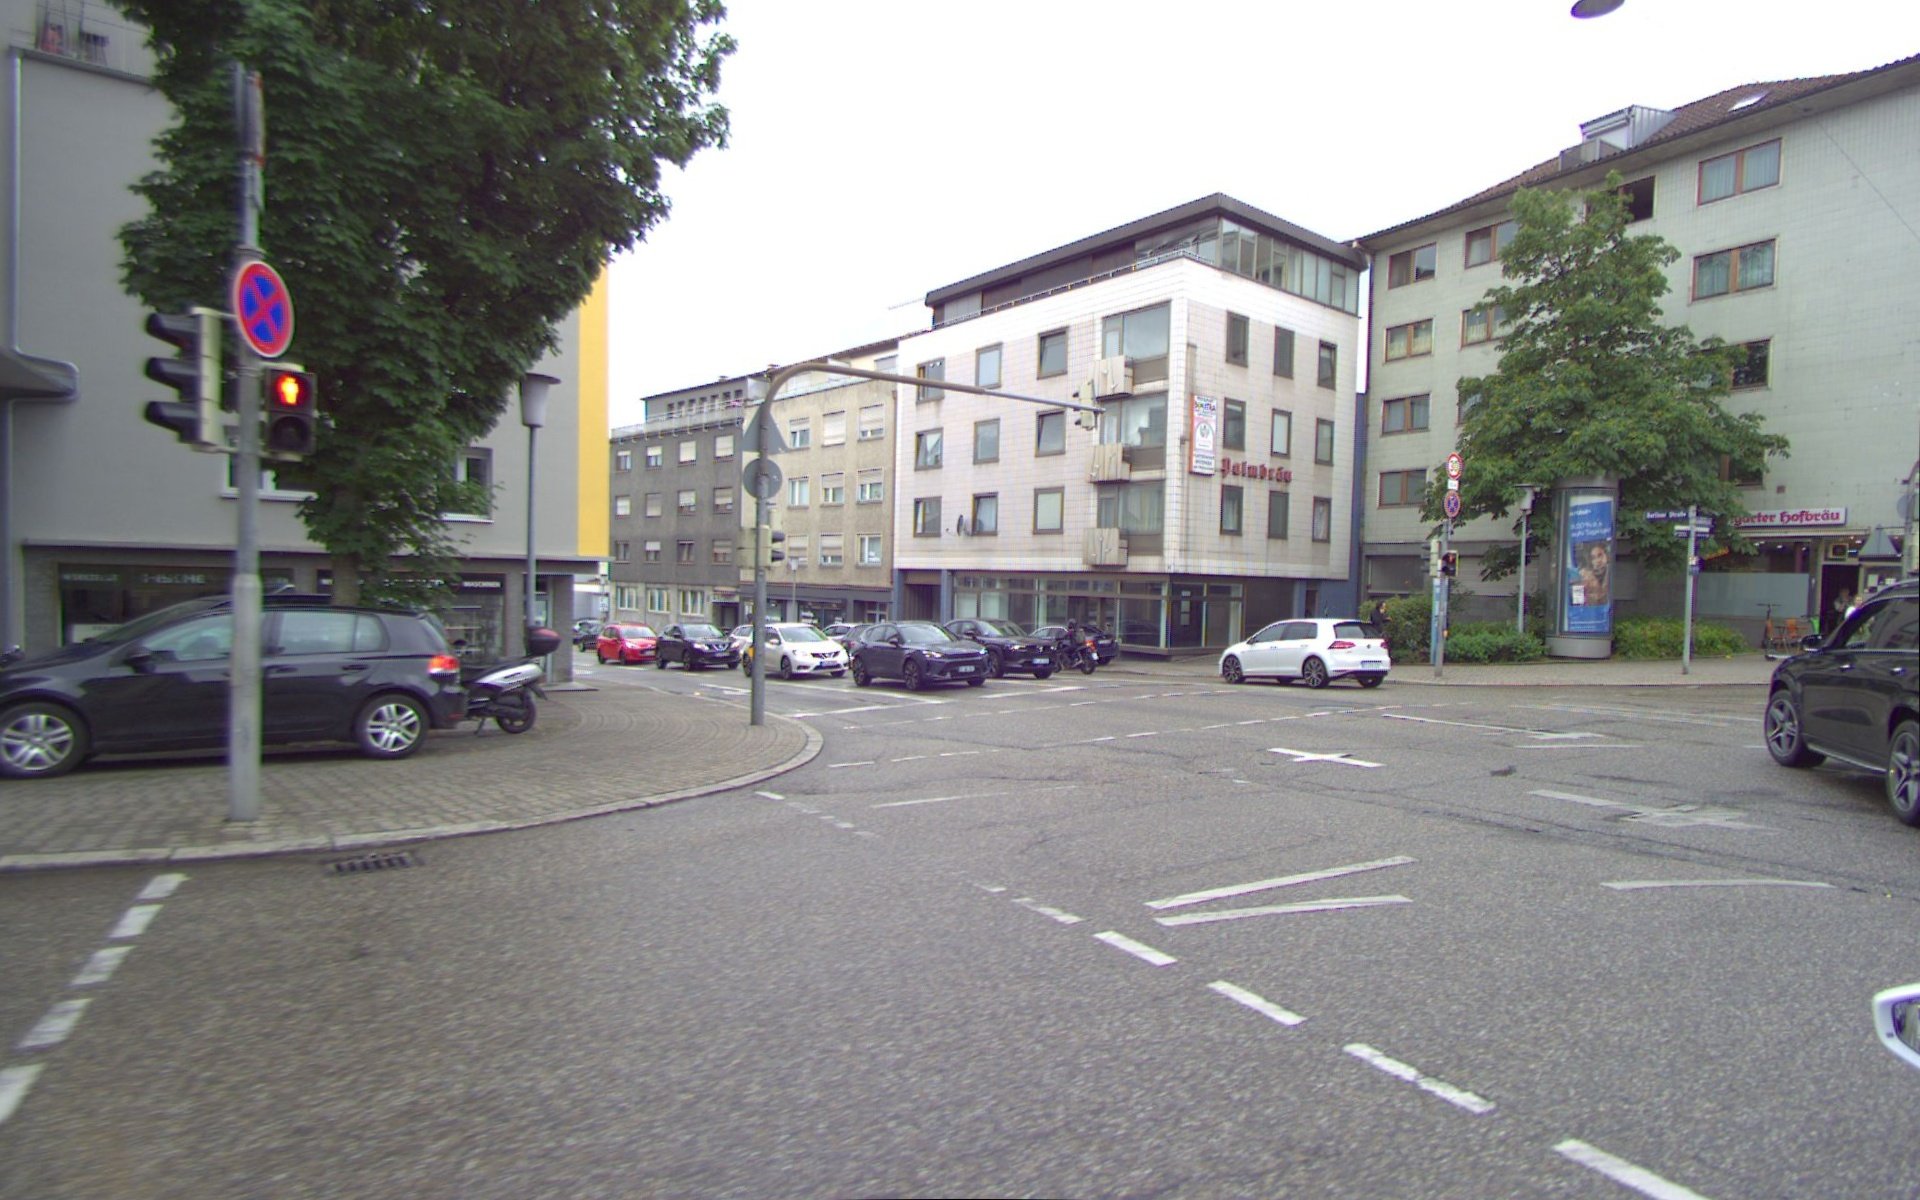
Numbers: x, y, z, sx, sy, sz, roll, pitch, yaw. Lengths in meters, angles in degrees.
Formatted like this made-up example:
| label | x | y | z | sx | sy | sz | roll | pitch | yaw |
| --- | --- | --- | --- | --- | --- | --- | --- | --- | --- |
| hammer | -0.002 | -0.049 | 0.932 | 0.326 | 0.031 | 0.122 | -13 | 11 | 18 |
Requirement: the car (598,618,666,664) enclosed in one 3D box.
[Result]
| label | x | y | z | sx | sy | sz | roll | pitch | yaw |
| --- | --- | --- | --- | --- | --- | --- | --- | --- | --- |
| car | -13.094 | 1.591 | 39.947 | 1.593 | 1.617 | 3.741 | 1 | 0 | -34 |

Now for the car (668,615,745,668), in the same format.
| label | x | y | z | sx | sy | sz | roll | pitch | yaw |
| --- | --- | --- | --- | --- | --- | --- | --- | --- | --- |
| car | -8.841 | 1.400 | 34.810 | 1.787 | 1.653 | 4.317 | -2 | 0 | -24 |

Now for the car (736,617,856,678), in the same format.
| label | x | y | z | sx | sy | sz | roll | pitch | yaw |
| --- | --- | --- | --- | --- | --- | --- | --- | --- | --- |
| car | -4.793 | 1.301 | 28.866 | 1.793 | 1.563 | 4.338 | 1 | 0 | -33 |

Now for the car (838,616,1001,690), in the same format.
| label | x | y | z | sx | sy | sz | roll | pitch | yaw |
| --- | --- | --- | --- | --- | --- | --- | --- | --- | --- |
| car | -1.050 | 1.137 | 23.280 | 1.806 | 1.497 | 4.338 | 1 | 0 | -33 |

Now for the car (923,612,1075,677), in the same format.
| label | x | y | z | sx | sy | sz | roll | pitch | yaw |
| --- | --- | --- | --- | --- | --- | --- | --- | --- | --- |
| car | 0.927 | 1.174 | 26.350 | 1.806 | 1.557 | 4.339 | 1 | -3 | -33 |

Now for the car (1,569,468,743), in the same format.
| label | x | y | z | sx | sy | sz | roll | pitch | yaw |
| --- | --- | --- | --- | --- | --- | --- | --- | --- | --- |
| car | -8.634 | 0.682 | 12.368 | 1.745 | 1.750 | 4.332 | -3 | -4 | 35 |

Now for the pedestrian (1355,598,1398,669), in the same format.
| label | x | y | z | sx | sy | sz | roll | pitch | yaw |
| --- | --- | --- | --- | --- | --- | --- | --- | --- | --- |
| pedestrian | 11.133 | 0.881 | 26.886 | 0.740 | 1.842 | 0.917 | -1 | 2 | -2 |

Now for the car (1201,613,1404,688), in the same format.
| label | x | y | z | sx | sy | sz | roll | pitch | yaw |
| --- | --- | --- | --- | --- | --- | --- | --- | --- | --- |
| car | 7.482 | 1.107 | 22.433 | 1.811 | 1.481 | 4.352 | 1 | -2 | -25 |

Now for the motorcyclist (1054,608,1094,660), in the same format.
| label | x | y | z | sx | sy | sz | roll | pitch | yaw |
| --- | --- | --- | --- | --- | --- | --- | --- | --- | --- |
| motorcyclist | 3.322 | 0.987 | 29.240 | 0.900 | 1.472 | 0.738 | 1 | 0 | -41 |

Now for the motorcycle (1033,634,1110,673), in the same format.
| label | x | y | z | sx | sy | sz | roll | pitch | yaw |
| --- | --- | --- | --- | --- | --- | --- | --- | --- | --- |
| motorcycle | 3.240 | 1.536 | 29.384 | 0.858 | 1.019 | 2.225 | 1 | 0 | -41 |

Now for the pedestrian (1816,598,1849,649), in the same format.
| label | x | y | z | sx | sy | sz | roll | pitch | yaw |
| --- | --- | --- | --- | --- | --- | --- | --- | --- | --- |
| pedestrian | 24.923 | 0.676 | 28.703 | 0.572 | 1.418 | 0.515 | 2 | 2 | -34 |

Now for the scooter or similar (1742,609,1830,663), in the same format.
| label | x | y | z | sx | sy | sz | roll | pitch | yaw |
| --- | --- | --- | --- | --- | --- | --- | --- | --- | --- |
| scooter or similar | 20.226 | 0.863 | 24.627 | 1.534 | 1.206 | 0.500 | 4 | 2 | 31 |

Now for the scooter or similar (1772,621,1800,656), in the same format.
| label | x | y | z | sx | sy | sz | roll | pitch | yaw |
| --- | --- | --- | --- | --- | --- | --- | --- | --- | --- |
| scooter or similar | 21.473 | 0.993 | 26.135 | 0.452 | 0.854 | 1.317 | 4 | 2 | 37 |

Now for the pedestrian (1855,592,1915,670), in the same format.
| label | x | y | z | sx | sy | sz | roll | pitch | yaw |
| --- | --- | --- | --- | --- | --- | --- | --- | --- | --- |
| pedestrian | 20.751 | 0.685 | 22.547 | 0.696 | 1.670 | 0.758 | 2 | 4 | 24 |

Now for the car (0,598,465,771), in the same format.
| label | x | y | z | sx | sy | sz | roll | pitch | yaw |
| --- | --- | --- | --- | --- | --- | --- | --- | --- | --- |
| car | -7.018 | 0.743 | 9.527 | 3.959 | 1.377 | 1.722 | 2 | -2 | -34 |

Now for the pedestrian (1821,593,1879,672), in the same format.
| label | x | y | z | sx | sy | sz | roll | pitch | yaw |
| --- | --- | --- | --- | --- | --- | --- | --- | --- | --- |
| pedestrian | 19.857 | 0.704 | 22.424 | 0.696 | 1.670 | 0.758 | 2 | 4 | 24 |

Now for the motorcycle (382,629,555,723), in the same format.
| label | x | y | z | sx | sy | sz | roll | pitch | yaw |
| --- | --- | --- | --- | --- | --- | --- | --- | --- | --- |
| motorcycle | -5.840 | 0.883 | 12.003 | 1.780 | 1.046 | 0.448 | 2 | -1 | -41 |

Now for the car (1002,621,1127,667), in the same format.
| label | x | y | z | sx | sy | sz | roll | pitch | yaw |
| --- | --- | --- | --- | --- | --- | --- | --- | --- | --- |
| car | 3.517 | 1.490 | 34.519 | 1.753 | 1.410 | 4.333 | -2 | 0 | -37 |

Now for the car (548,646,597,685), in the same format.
| label | x | y | z | sx | sy | sz | roll | pitch | yaw |
| --- | --- | --- | --- | --- | --- | --- | --- | --- | --- |
| car | -18.627 | 3.090 | 48.220 | 1.457 | 1.617 | 3.488 | 1 | 0 | -34 |

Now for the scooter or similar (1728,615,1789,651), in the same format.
| label | x | y | z | sx | sy | sz | roll | pitch | yaw |
| --- | --- | --- | --- | --- | --- | --- | --- | --- | --- |
| scooter or similar | 21.100 | 0.858 | 26.569 | 0.539 | 0.854 | 1.466 | 3 | 1 | 7 |

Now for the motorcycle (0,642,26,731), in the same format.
| label | x | y | z | sx | sy | sz | roll | pitch | yaw |
| --- | --- | --- | --- | --- | --- | --- | --- | --- | --- |
| motorcycle | -13.734 | 1.208 | 14.302 | 0.480 | 1.105 | 1.508 | 2 | 2 | -38 |

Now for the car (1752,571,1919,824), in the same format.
| label | x | y | z | sx | sy | sz | roll | pitch | yaw |
| --- | --- | --- | --- | --- | --- | --- | --- | --- | --- |
| car | 8.303 | 0.730 | 8.051 | 1.989 | 1.762 | 4.743 | 2 | 0 | 25 |

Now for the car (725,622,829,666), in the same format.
| label | x | y | z | sx | sy | sz | roll | pitch | yaw |
| --- | --- | --- | --- | --- | --- | --- | --- | --- | --- |
| car | -6.870 | 1.617 | 37.327 | 1.798 | 1.541 | 4.508 | 1 | -2 | -41 |
